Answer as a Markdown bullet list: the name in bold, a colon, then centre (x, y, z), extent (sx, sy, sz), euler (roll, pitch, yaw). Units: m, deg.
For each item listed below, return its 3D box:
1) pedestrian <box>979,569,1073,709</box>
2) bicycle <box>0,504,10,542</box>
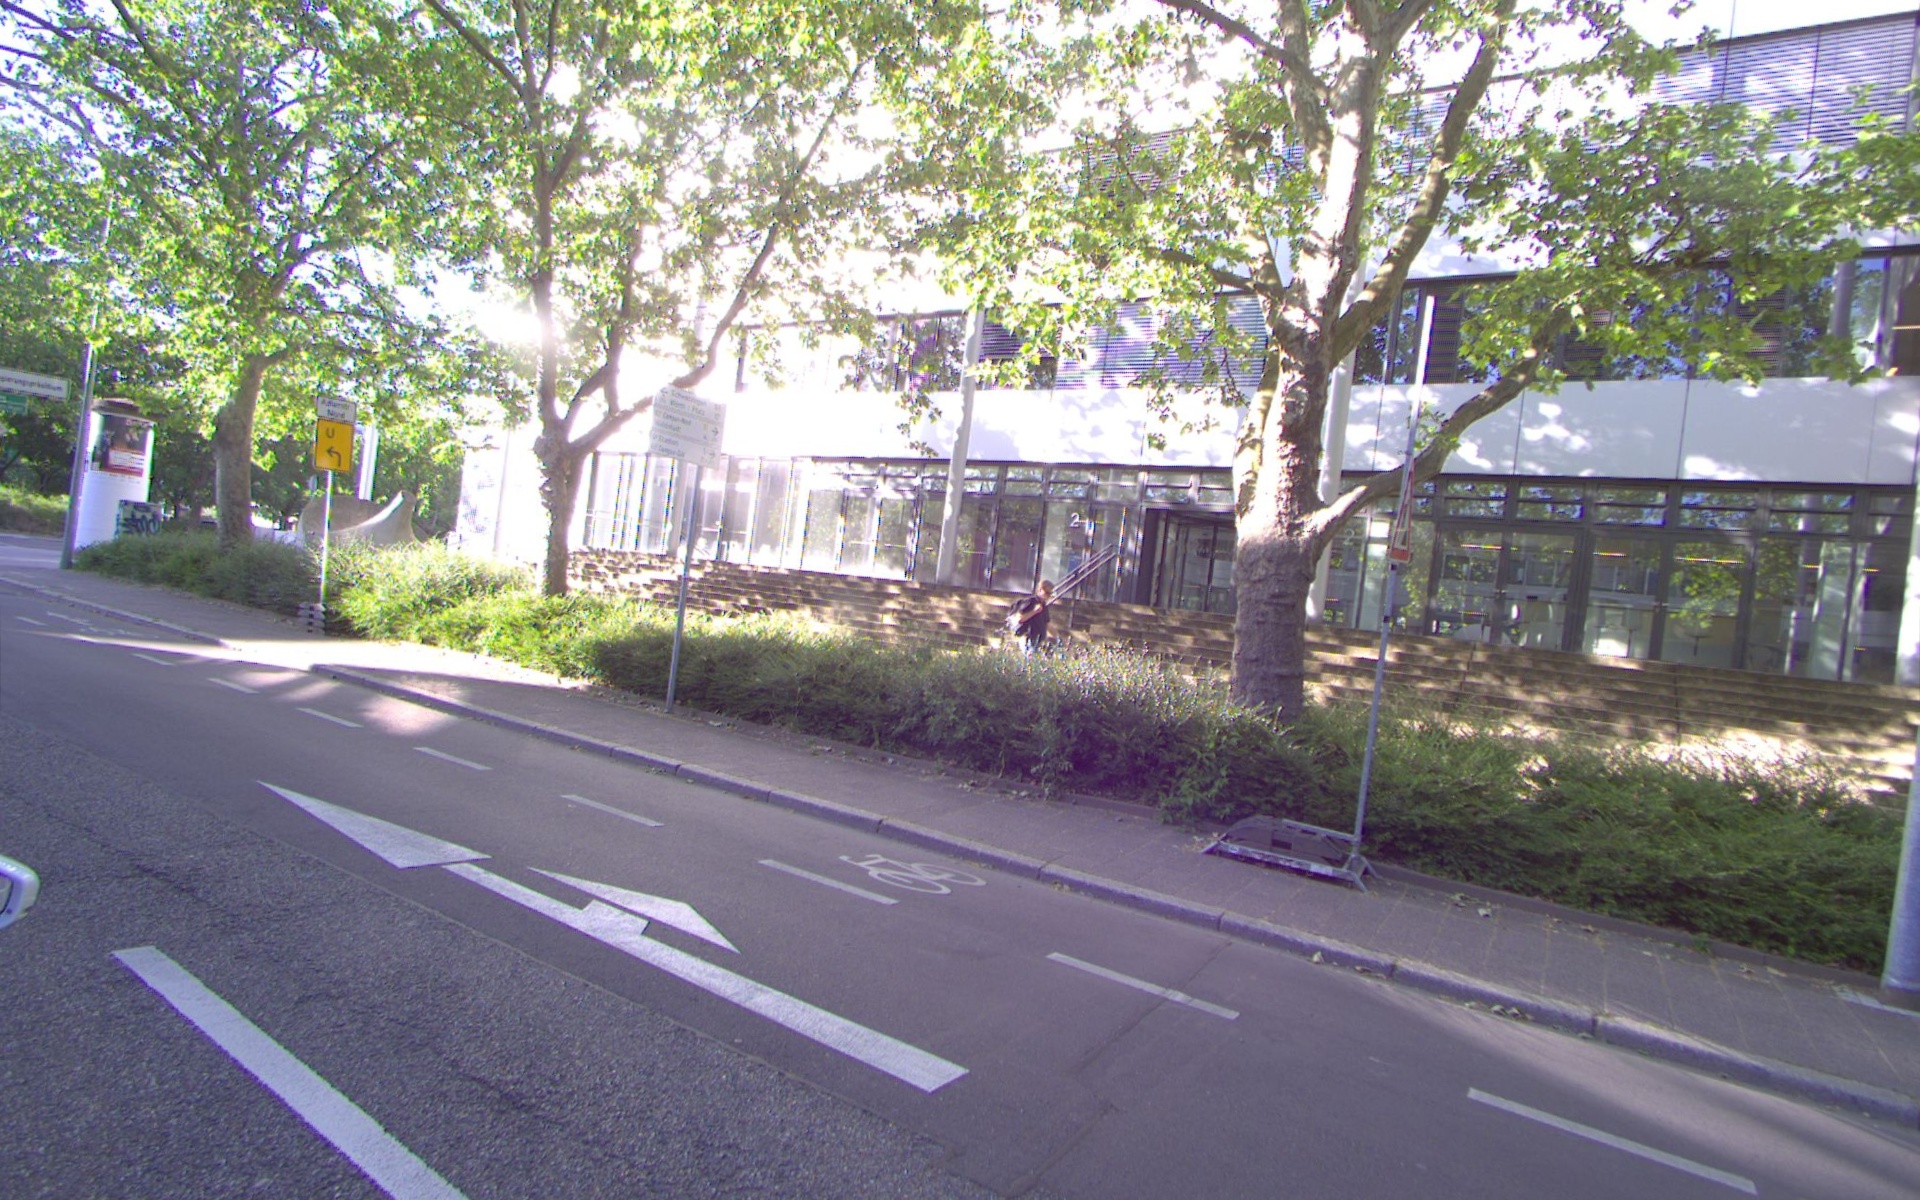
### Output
- **pedestrian**: centre (0.924, 0.545, 13.956), extent (0.848, 1.802, 0.785), euler (7, 0, 30)
- **bicycle**: centre (-31.491, -2.589, 31.876), extent (2.134, 1.186, 0.719), euler (7, -1, 8)
